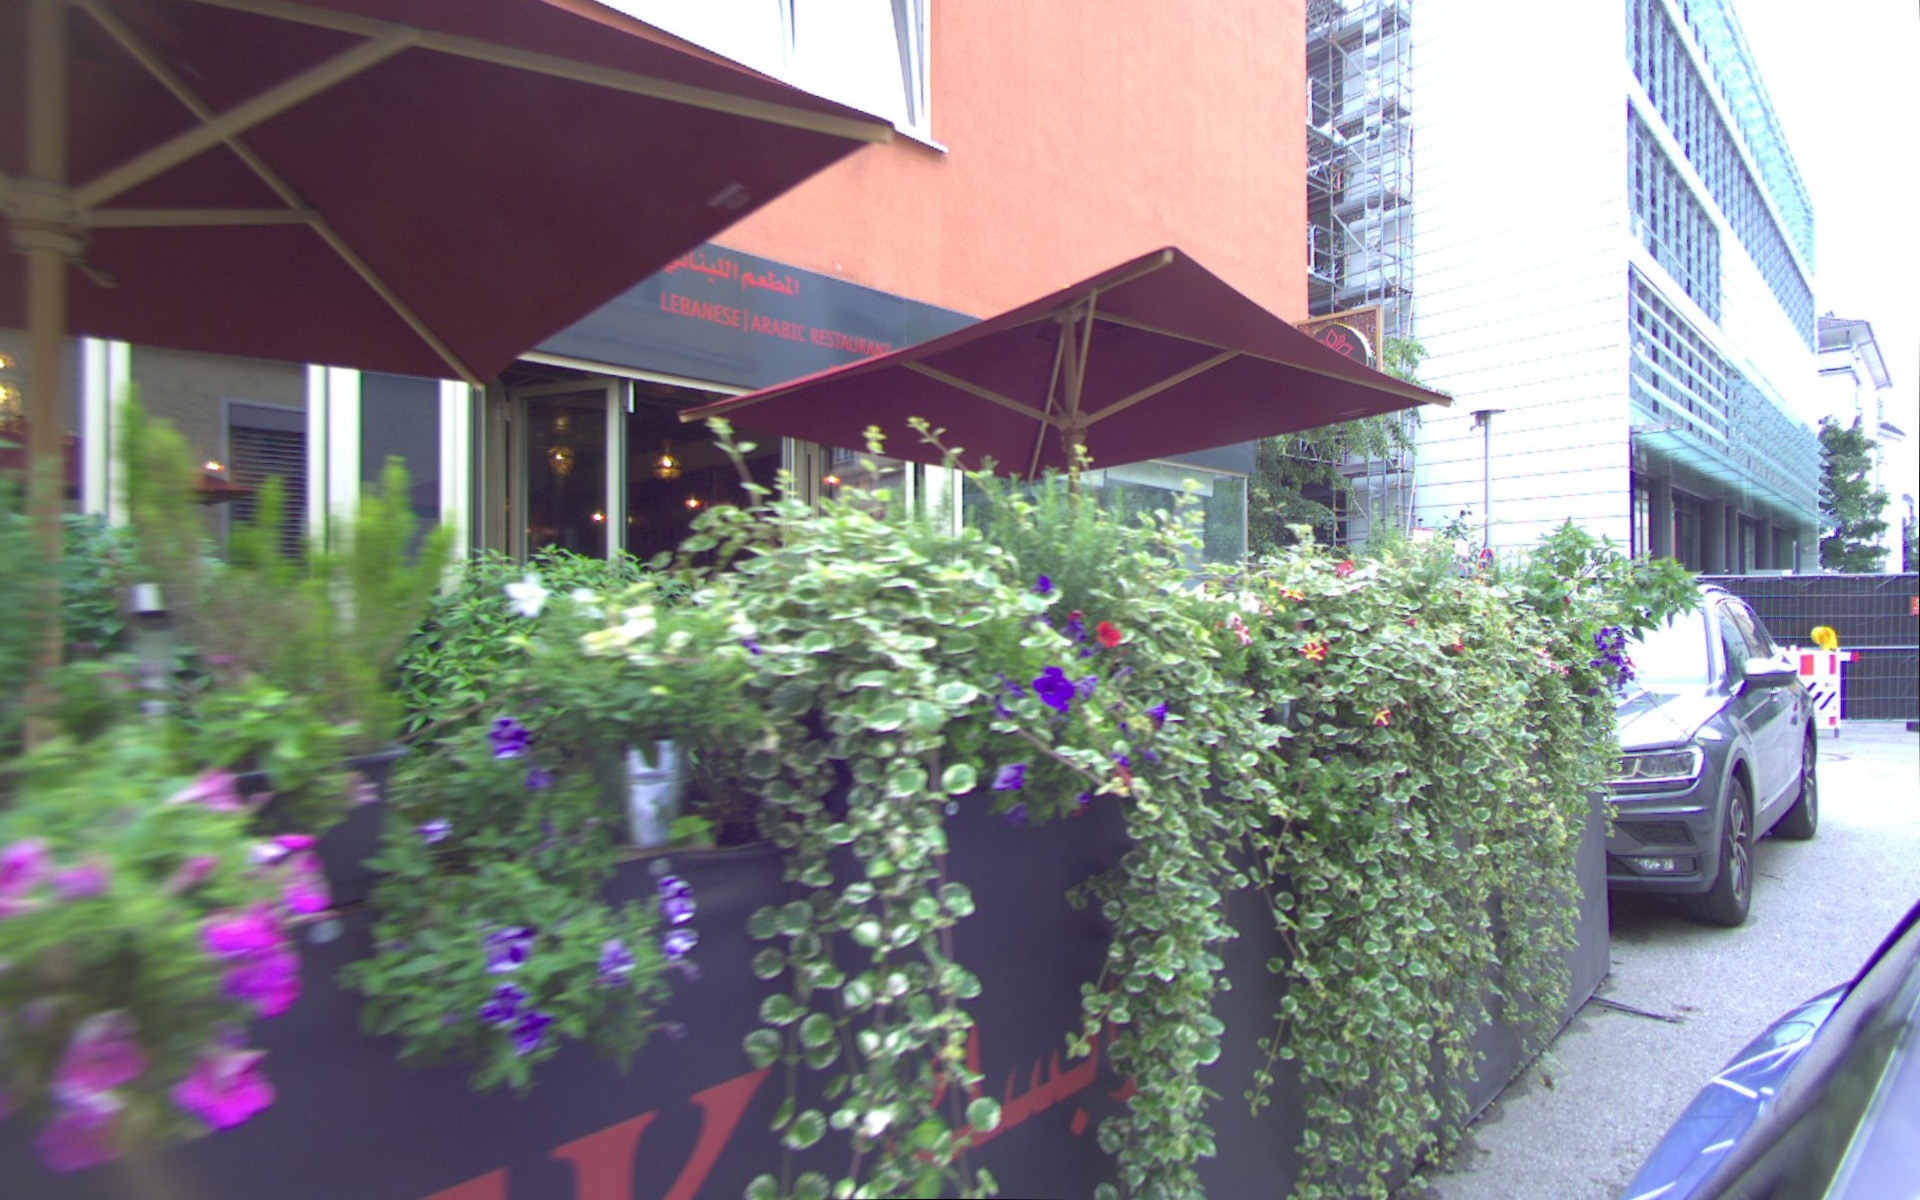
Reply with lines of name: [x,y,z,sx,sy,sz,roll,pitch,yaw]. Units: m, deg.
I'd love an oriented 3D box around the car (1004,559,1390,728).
car: [2.778,0.435,12.664,1.810,1.742,4.465,1,0,-44]

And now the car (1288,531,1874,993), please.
car: [3.877,0.626,5.958,4.315,1.732,1.825,0,-2,-43]
